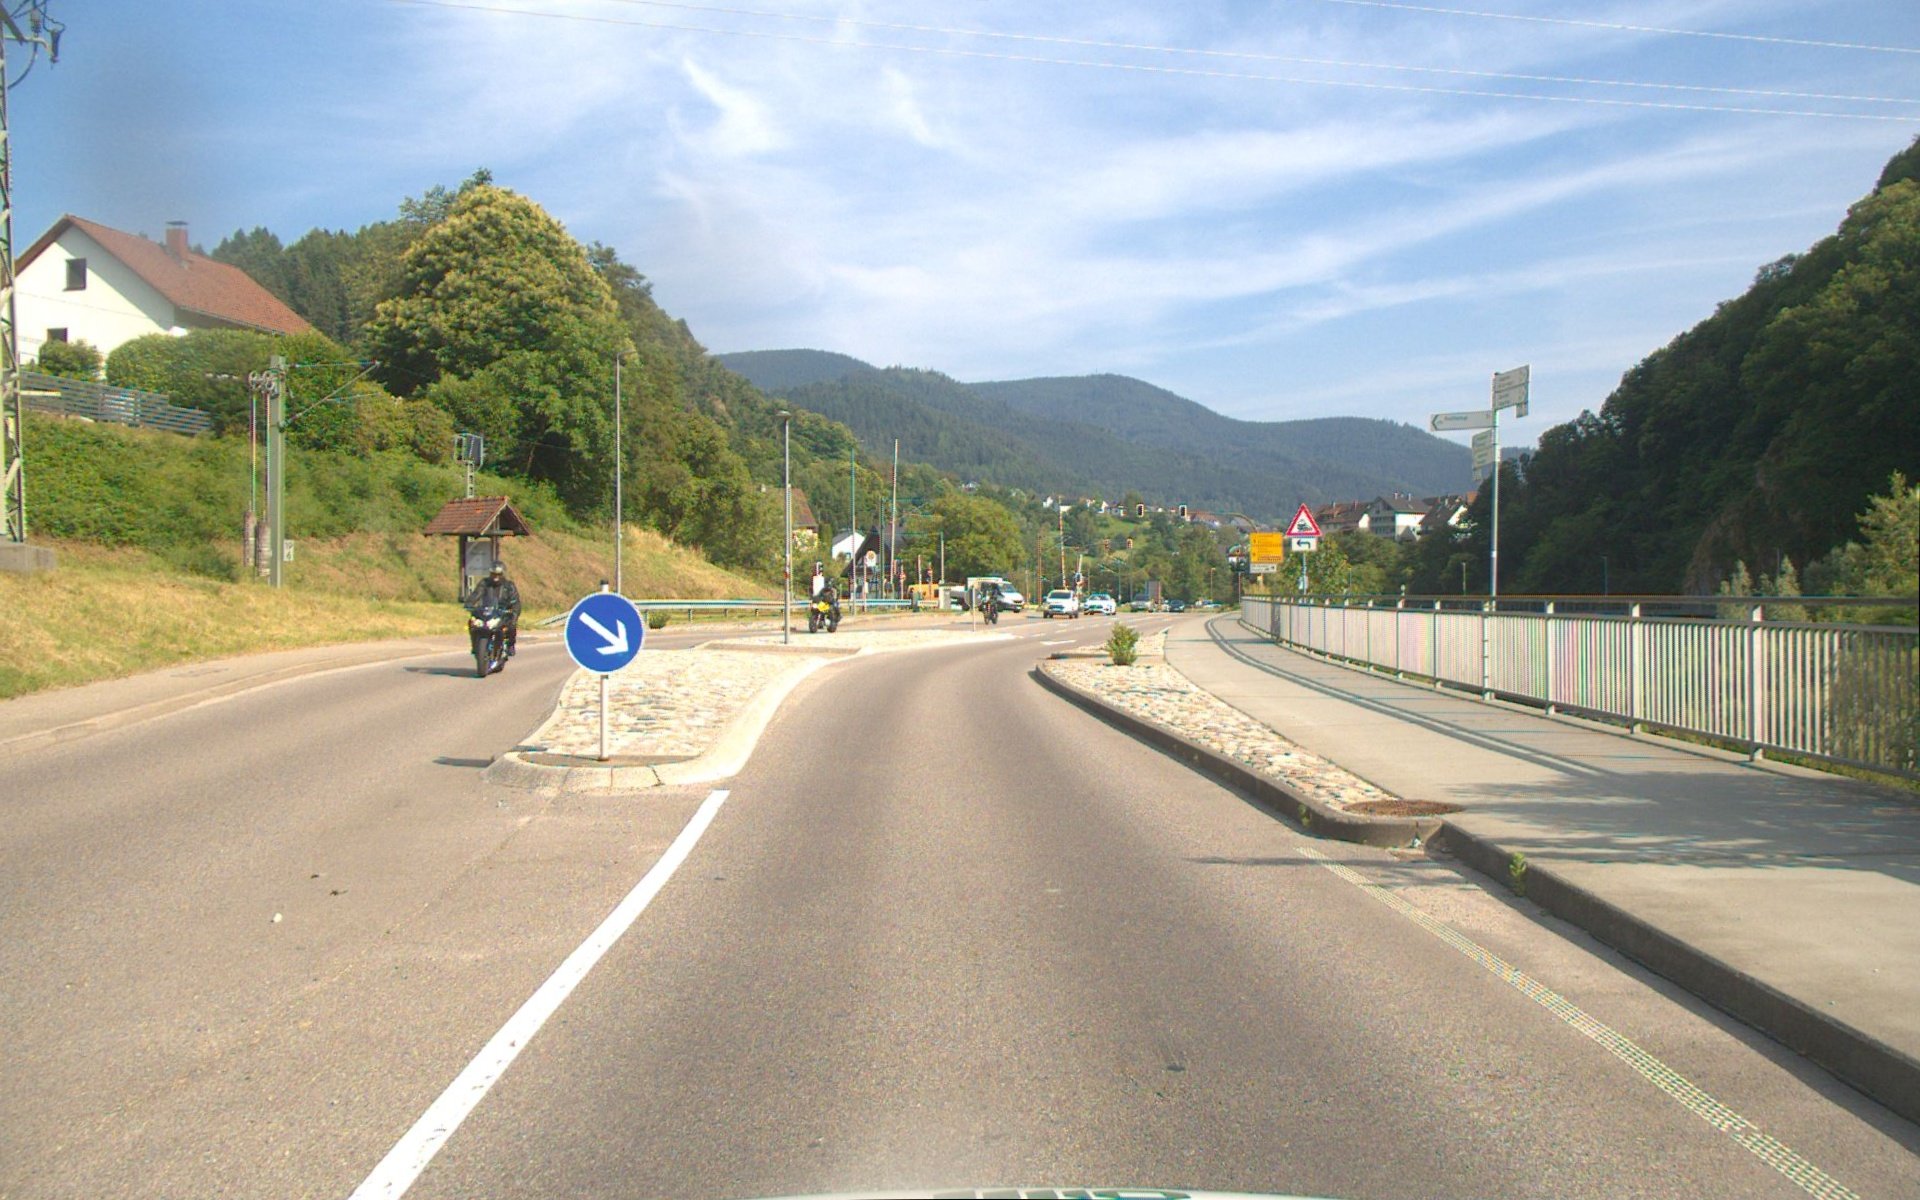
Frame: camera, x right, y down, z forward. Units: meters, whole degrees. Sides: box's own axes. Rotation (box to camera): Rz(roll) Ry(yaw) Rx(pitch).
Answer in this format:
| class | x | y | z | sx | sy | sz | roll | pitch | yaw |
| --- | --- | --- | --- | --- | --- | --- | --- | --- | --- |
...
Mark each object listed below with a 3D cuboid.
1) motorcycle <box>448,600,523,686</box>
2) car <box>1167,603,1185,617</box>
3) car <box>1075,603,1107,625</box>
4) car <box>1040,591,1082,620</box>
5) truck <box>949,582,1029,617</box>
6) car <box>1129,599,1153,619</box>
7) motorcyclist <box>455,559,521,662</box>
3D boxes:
| class | x | y | z | sx | sy | sz | roll | pitch | yaw |
| --- | --- | --- | --- | --- | --- | --- | --- | --- | --- |
| motorcycle | -7.178 | 0.619 | 25.143 | 0.878 | 1.204 | 2.300 | 0 | 1 | -11 |
| car | 23.529 | 1.078 | 179.825 | 1.735 | 1.441 | 3.788 | -2 | 0 | 11 |
| car | 9.011 | 0.951 | 113.654 | 1.744 | 1.424 | 4.831 | 1 | 0 | 9 |
| car | 5.947 | 0.305 | 96.790 | 1.726 | 1.587 | 4.003 | 1 | 1 | 15 |
| truck | 2.014 | -0.059 | 117.596 | 5.902 | 2.306 | 1.986 | 2 | 1 | 44 |
| car | 15.855 | 0.791 | 144.888 | 1.721 | 1.548 | 4.207 | 1 | -2 | 11 |
| motorcyclist | -7.219 | 0.146 | 25.343 | 0.889 | 1.545 | 0.845 | 0 | 1 | -11 |
